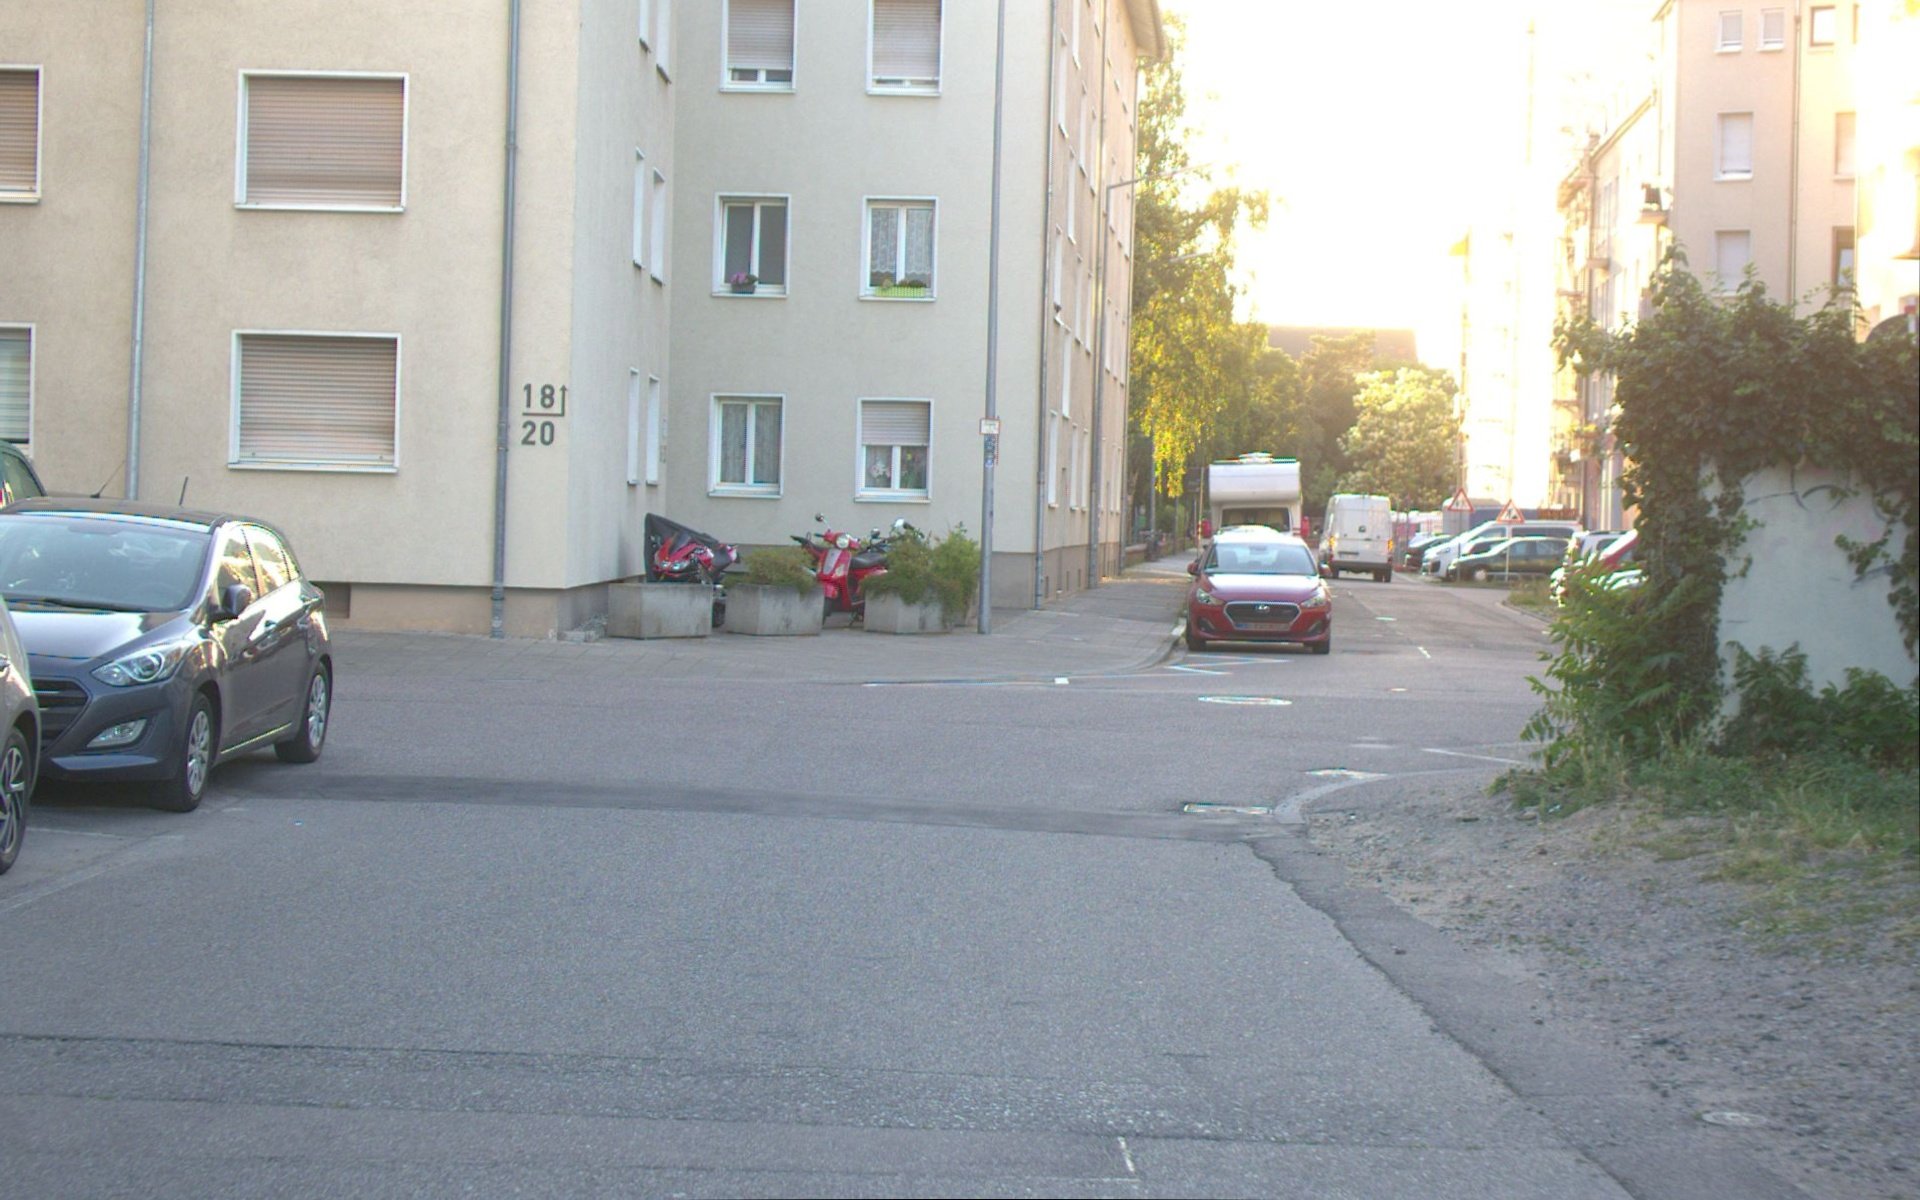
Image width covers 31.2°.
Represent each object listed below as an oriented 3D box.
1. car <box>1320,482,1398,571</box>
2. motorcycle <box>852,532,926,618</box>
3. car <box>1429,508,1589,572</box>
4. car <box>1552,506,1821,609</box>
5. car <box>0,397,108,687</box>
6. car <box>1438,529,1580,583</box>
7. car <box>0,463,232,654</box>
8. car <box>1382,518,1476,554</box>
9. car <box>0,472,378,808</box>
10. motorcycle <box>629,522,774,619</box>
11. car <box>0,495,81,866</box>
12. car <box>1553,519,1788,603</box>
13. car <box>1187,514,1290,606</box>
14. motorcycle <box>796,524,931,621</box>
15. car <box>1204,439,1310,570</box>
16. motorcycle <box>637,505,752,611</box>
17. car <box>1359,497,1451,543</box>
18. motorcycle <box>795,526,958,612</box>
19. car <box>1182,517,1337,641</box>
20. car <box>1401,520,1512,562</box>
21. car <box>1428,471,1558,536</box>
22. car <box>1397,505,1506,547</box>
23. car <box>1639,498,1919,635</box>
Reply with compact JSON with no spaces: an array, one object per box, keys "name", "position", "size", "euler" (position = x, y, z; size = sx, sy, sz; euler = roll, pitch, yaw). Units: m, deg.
[{"name":"car","position":[12.367,-2.280,106.774],"size":[2.129,2.708,4.833],"euler":[0,1,3]},{"name":"motorcycle","position":[-0.917,-0.339,44.975],"size":[0.682,1.075,2.034],"euler":[2,1,6]},{"name":"car","position":[17.228,-1.897,107.996],"size":[4.814,1.961,1.738],"euler":[1,1,5]},{"name":"car","position":[13.642,-0.805,64.783],"size":[4.723,1.903,2.059],"euler":[0,1,5]},{"name":"car","position":[-7.396,-0.426,23.583],"size":[1.798,1.973,4.689],"euler":[2,2,1]},{"name":"car","position":[16.108,-1.291,100.972],"size":[3.987,1.525,1.659],"euler":[1,1,5]},{"name":"car","position":[-9.213,-0.448,33.049],"size":[4.007,1.612,1.881],"euler":[2,5,0]},{"name":"car","position":[20.492,-2.820,150.275],"size":[3.987,1.525,1.659],"euler":[1,1,5]},{"name":"car","position":[-4.506,0.121,18.512],"size":[1.780,1.473,4.331],"euler":[5,2,1]},{"name":"motorcycle","position":[-3.015,-0.347,40.288],"size":[0.724,1.075,2.078],"euler":[2,1,26]},{"name":"car","position":[-4.638,0.299,12.612],"size":[1.710,1.473,4.185],"euler":[5,2,-1]},{"name":"car","position":[13.938,-0.770,67.610],"size":[4.324,1.632,1.818],"euler":[0,1,5]},{"name":"car","position":[4.578,-0.670,56.896],"size":[1.616,1.468,3.504],"euler":[0,1,3]},{"name":"motorcycle","position":[-1.186,-0.338,42.666],"size":[0.690,1.156,2.031],"euler":[3,1,29]},{"name":"car","position":[7.747,-2.445,89.511],"size":[2.620,3.257,7.695],"euler":[0,1,5]},{"name":"motorcycle","position":[-3.276,-0.522,42.587],"size":[0.724,1.260,2.079],"euler":[2,1,15]},{"name":"car","position":[23.747,-4.257,183.563],"size":[4.814,2.400,1.738],"euler":[1,1,5]},{"name":"motorcycle","position":[-1.147,-0.430,47.198],"size":[2.125,1.101,0.560],"euler":[2,1,17]},{"name":"car","position":[3.825,-0.299,44.474],"size":[1.845,1.468,4.078],"euler":[2,1,3]},{"name":"car","position":[18.417,-2.205,127.674],"size":[3.987,1.525,1.659],"euler":[1,1,5]},{"name":"car","position":[17.641,-3.197,113.965],"size":[3.987,2.007,2.000],"euler":[2,1,1]},{"name":"car","position":[18.515,-2.792,129.629],"size":[3.987,1.525,1.659],"euler":[1,1,5]},{"name":"car","position":[12.222,-0.484,50.262],"size":[4.280,1.854,1.741],"euler":[2,1,5]}]
